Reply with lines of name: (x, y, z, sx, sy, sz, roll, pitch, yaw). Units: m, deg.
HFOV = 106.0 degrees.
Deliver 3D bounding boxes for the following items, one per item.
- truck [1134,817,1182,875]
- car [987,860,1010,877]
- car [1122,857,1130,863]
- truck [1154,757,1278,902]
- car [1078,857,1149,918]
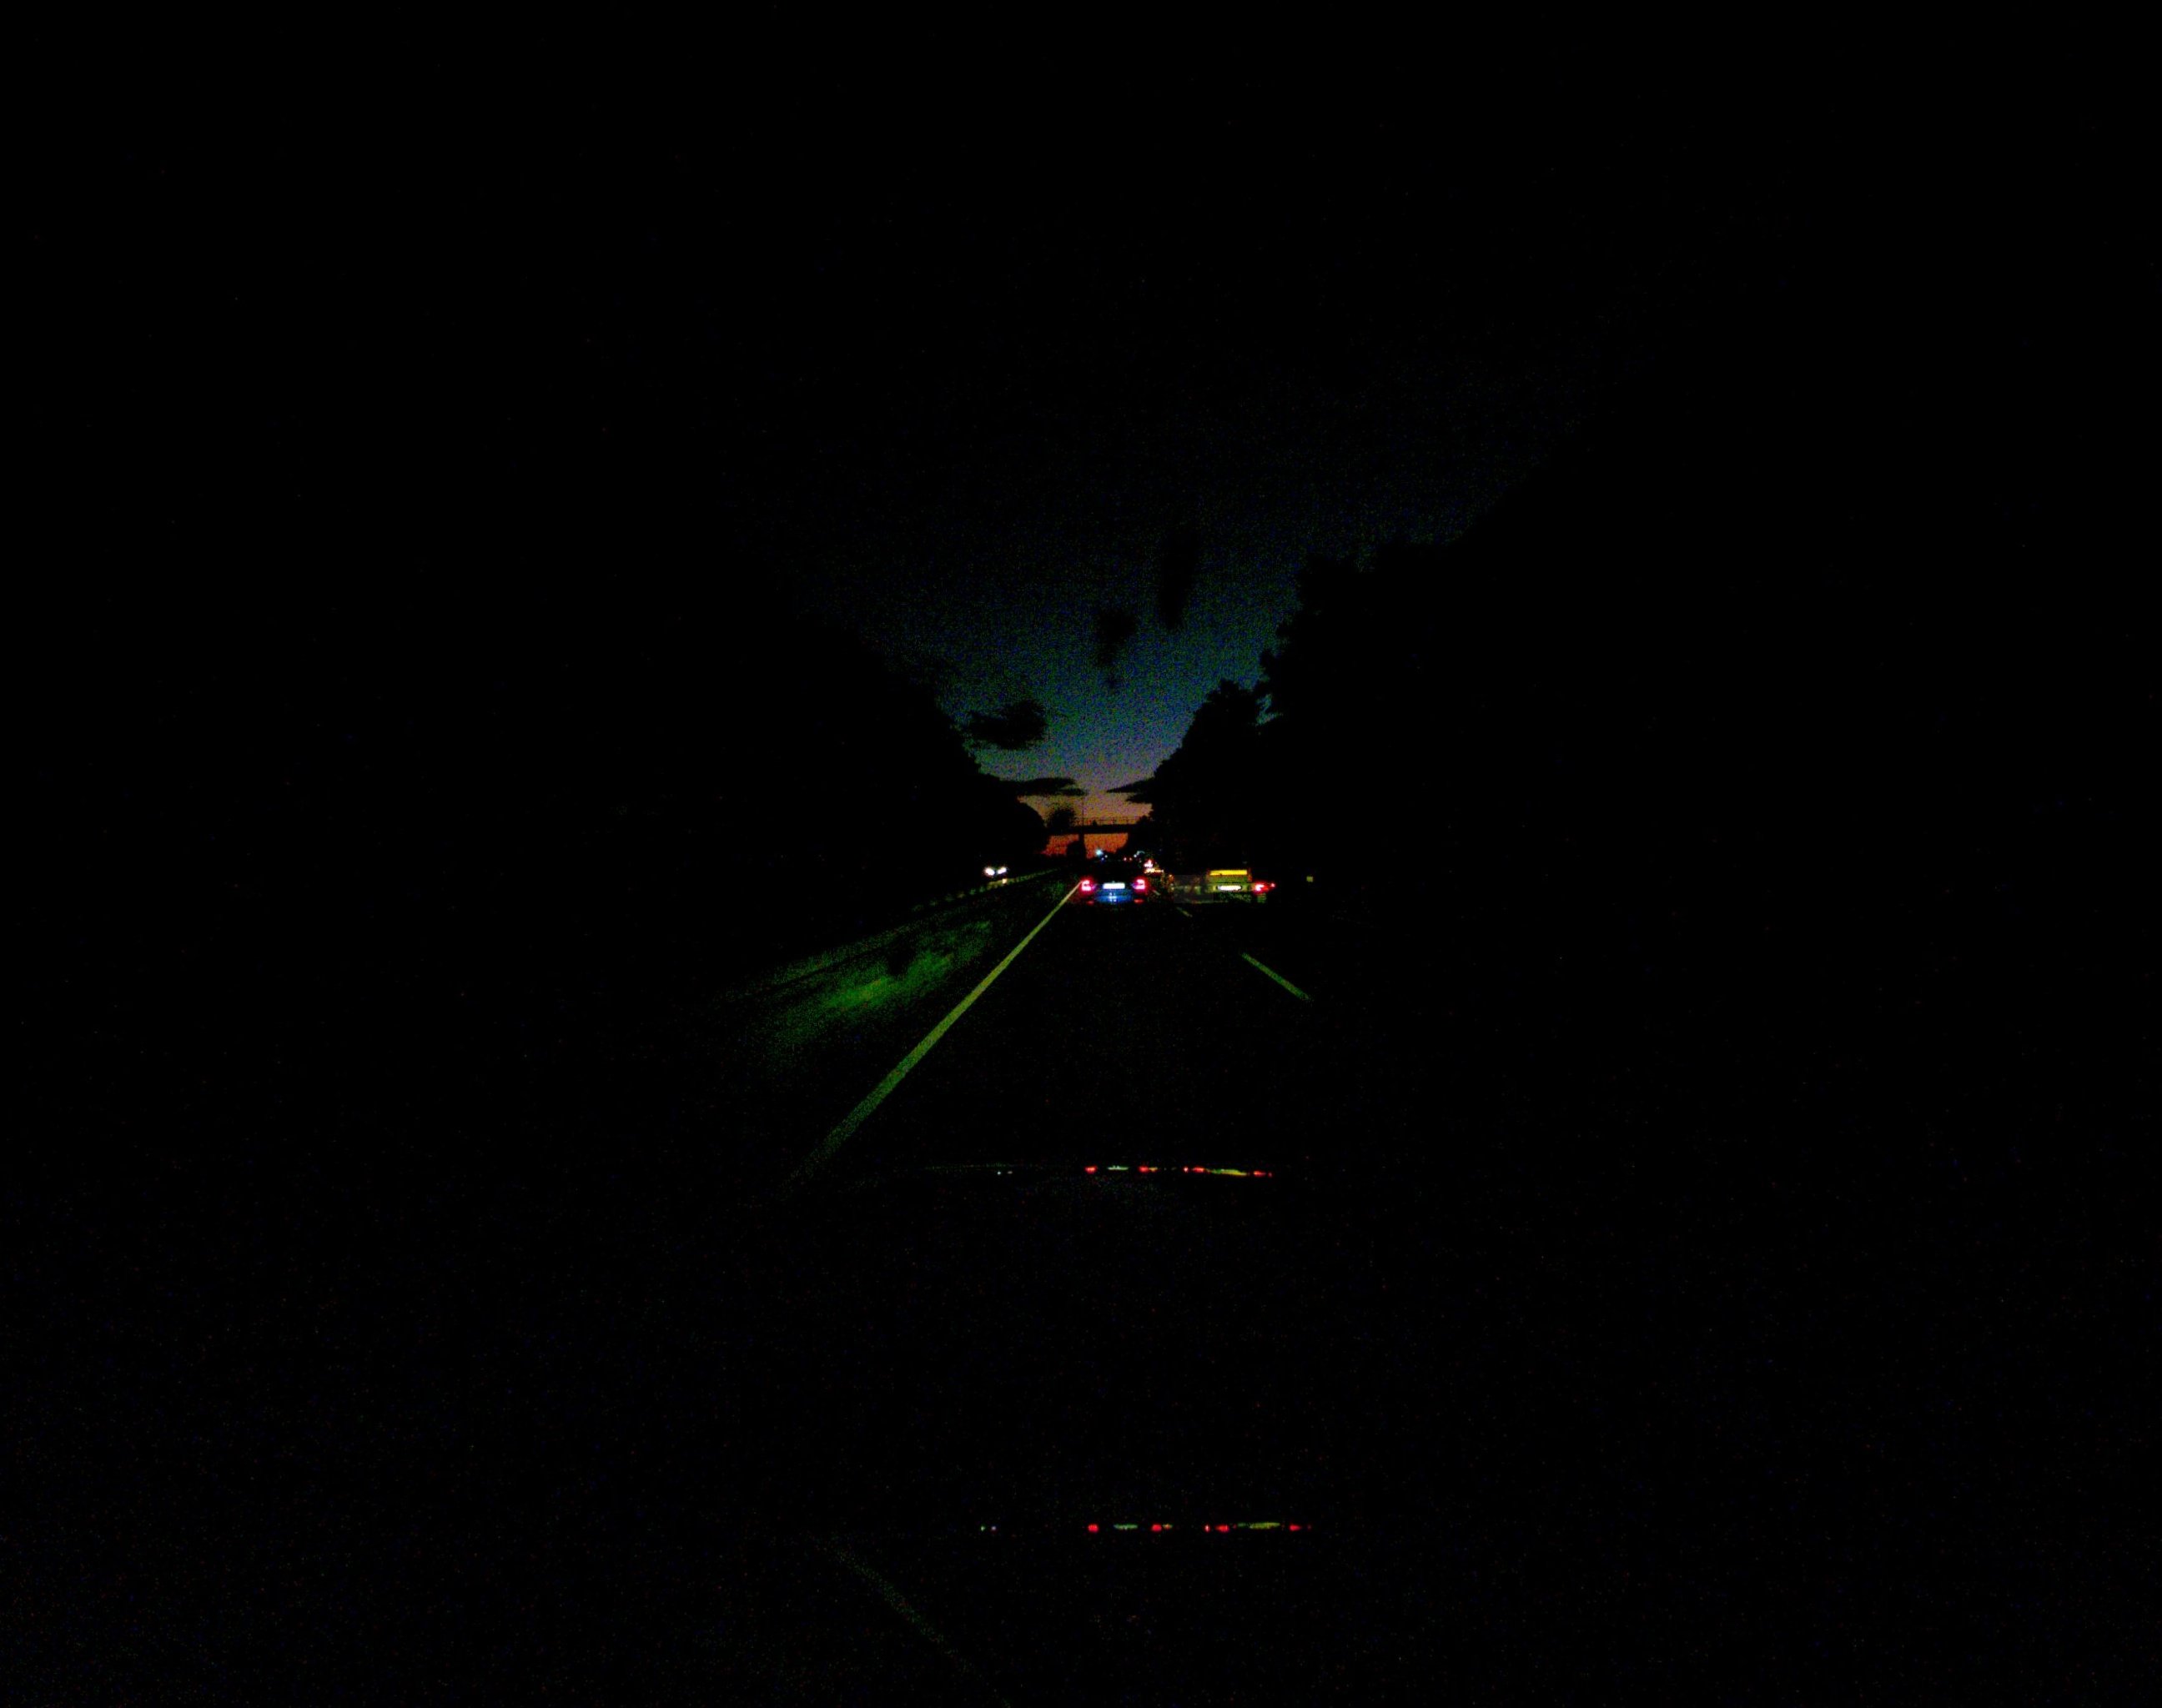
truck: (5.914, -0.478, 64.489, 2.872, 4.106, 12.687, -1, -1, 2)
car: (-7.525, 1.308, 74.763, 1.611, 1.507, 3.870, -1, -1, 2)
car: (9.984, 1.336, 179.929, 1.689, 1.452, 3.915, -1, -1, 2)
truck: (4.437, -0.630, 29.781, 2.677, 4.106, 13.145, -1, -1, 2)
car: (0.830, 0.834, 21.581, 1.689, 1.452, 3.915, -1, -1, 2)
